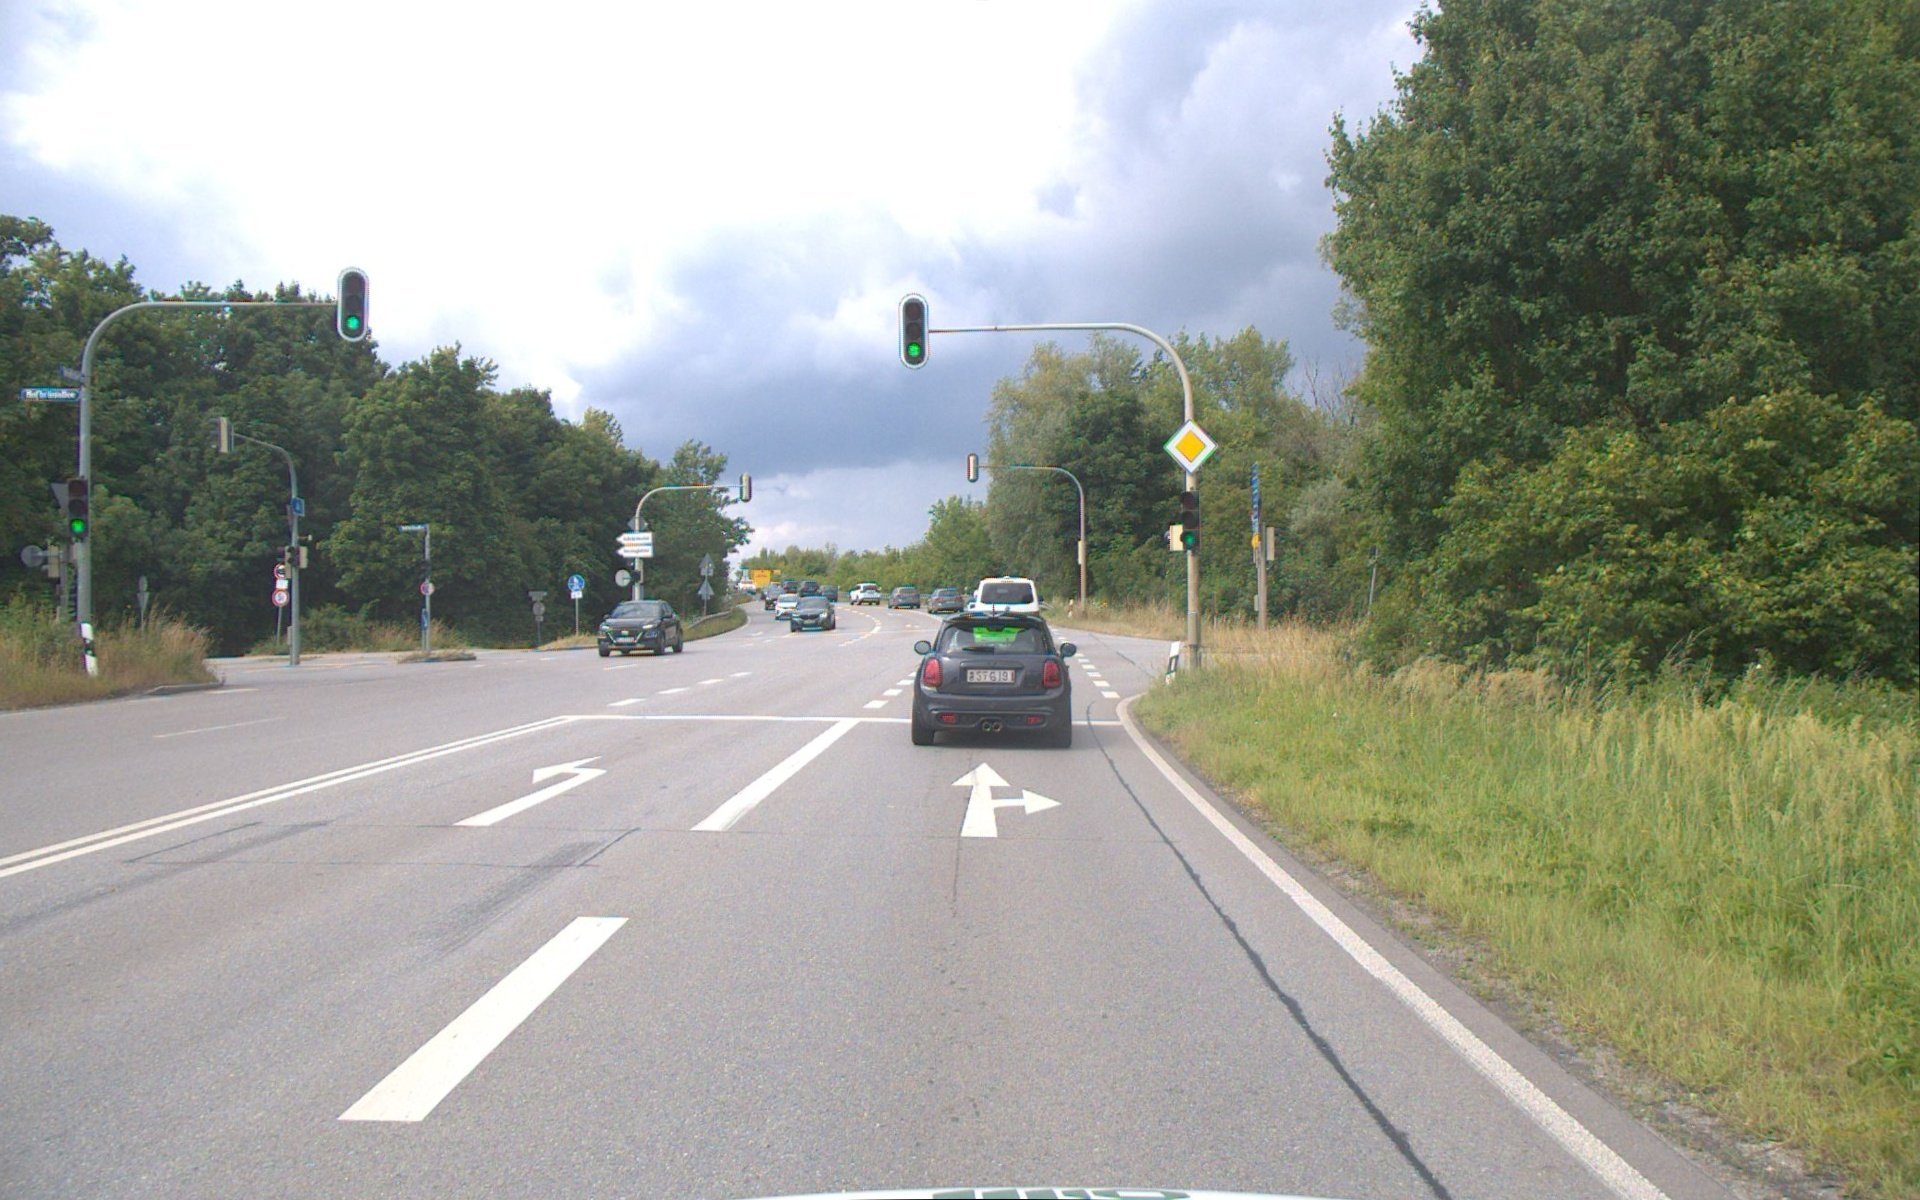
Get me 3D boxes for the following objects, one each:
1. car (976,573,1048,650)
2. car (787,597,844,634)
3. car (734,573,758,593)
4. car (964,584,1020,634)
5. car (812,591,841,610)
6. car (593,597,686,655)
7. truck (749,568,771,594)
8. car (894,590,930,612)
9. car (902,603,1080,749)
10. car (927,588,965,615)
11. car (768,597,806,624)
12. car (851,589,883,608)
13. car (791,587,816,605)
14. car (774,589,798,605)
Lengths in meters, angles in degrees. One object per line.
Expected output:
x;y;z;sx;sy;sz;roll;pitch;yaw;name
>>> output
1.492;0.275;46.142;1.806;2.021;3.844;0;1;5;car
-6.511;0.693;74.920;1.751;1.556;4.906;-3;0;4;car
-19.587;-1.574;151.349;1.958;1.720;3.990;-1;1;-10;car
1.126;0.338;59.849;1.953;1.713;4.000;-1;-1;0;car
-12.076;0.078;149.178;1.959;1.725;4.470;0;0;-13;car
-9.136;0.715;47.422;1.754;1.601;4.001;0;0;2;car
-26.167;-2.466;216.635;2.666;2.949;8.753;1;-2;-8;truck
-3.340;0.072;114.320;1.956;1.502;4.477;0;0;-8;car
0.336;0.783;18.835;1.807;1.453;3.841;1;0;0;car
-0.852;0.104;96.242;1.954;1.502;4.481;0;0;-4;car
-10.456;0.625;100.167;1.693;1.531;4.347;-1;0;2;car
-7.404;-0.105;131.375;1.958;1.502;4.472;0;0;-12;car
-15.462;-0.387;163.171;1.959;1.725;4.470;0;0;-13;car
-18.933;-0.346;179.660;1.960;1.725;4.467;0;0;-15;car
